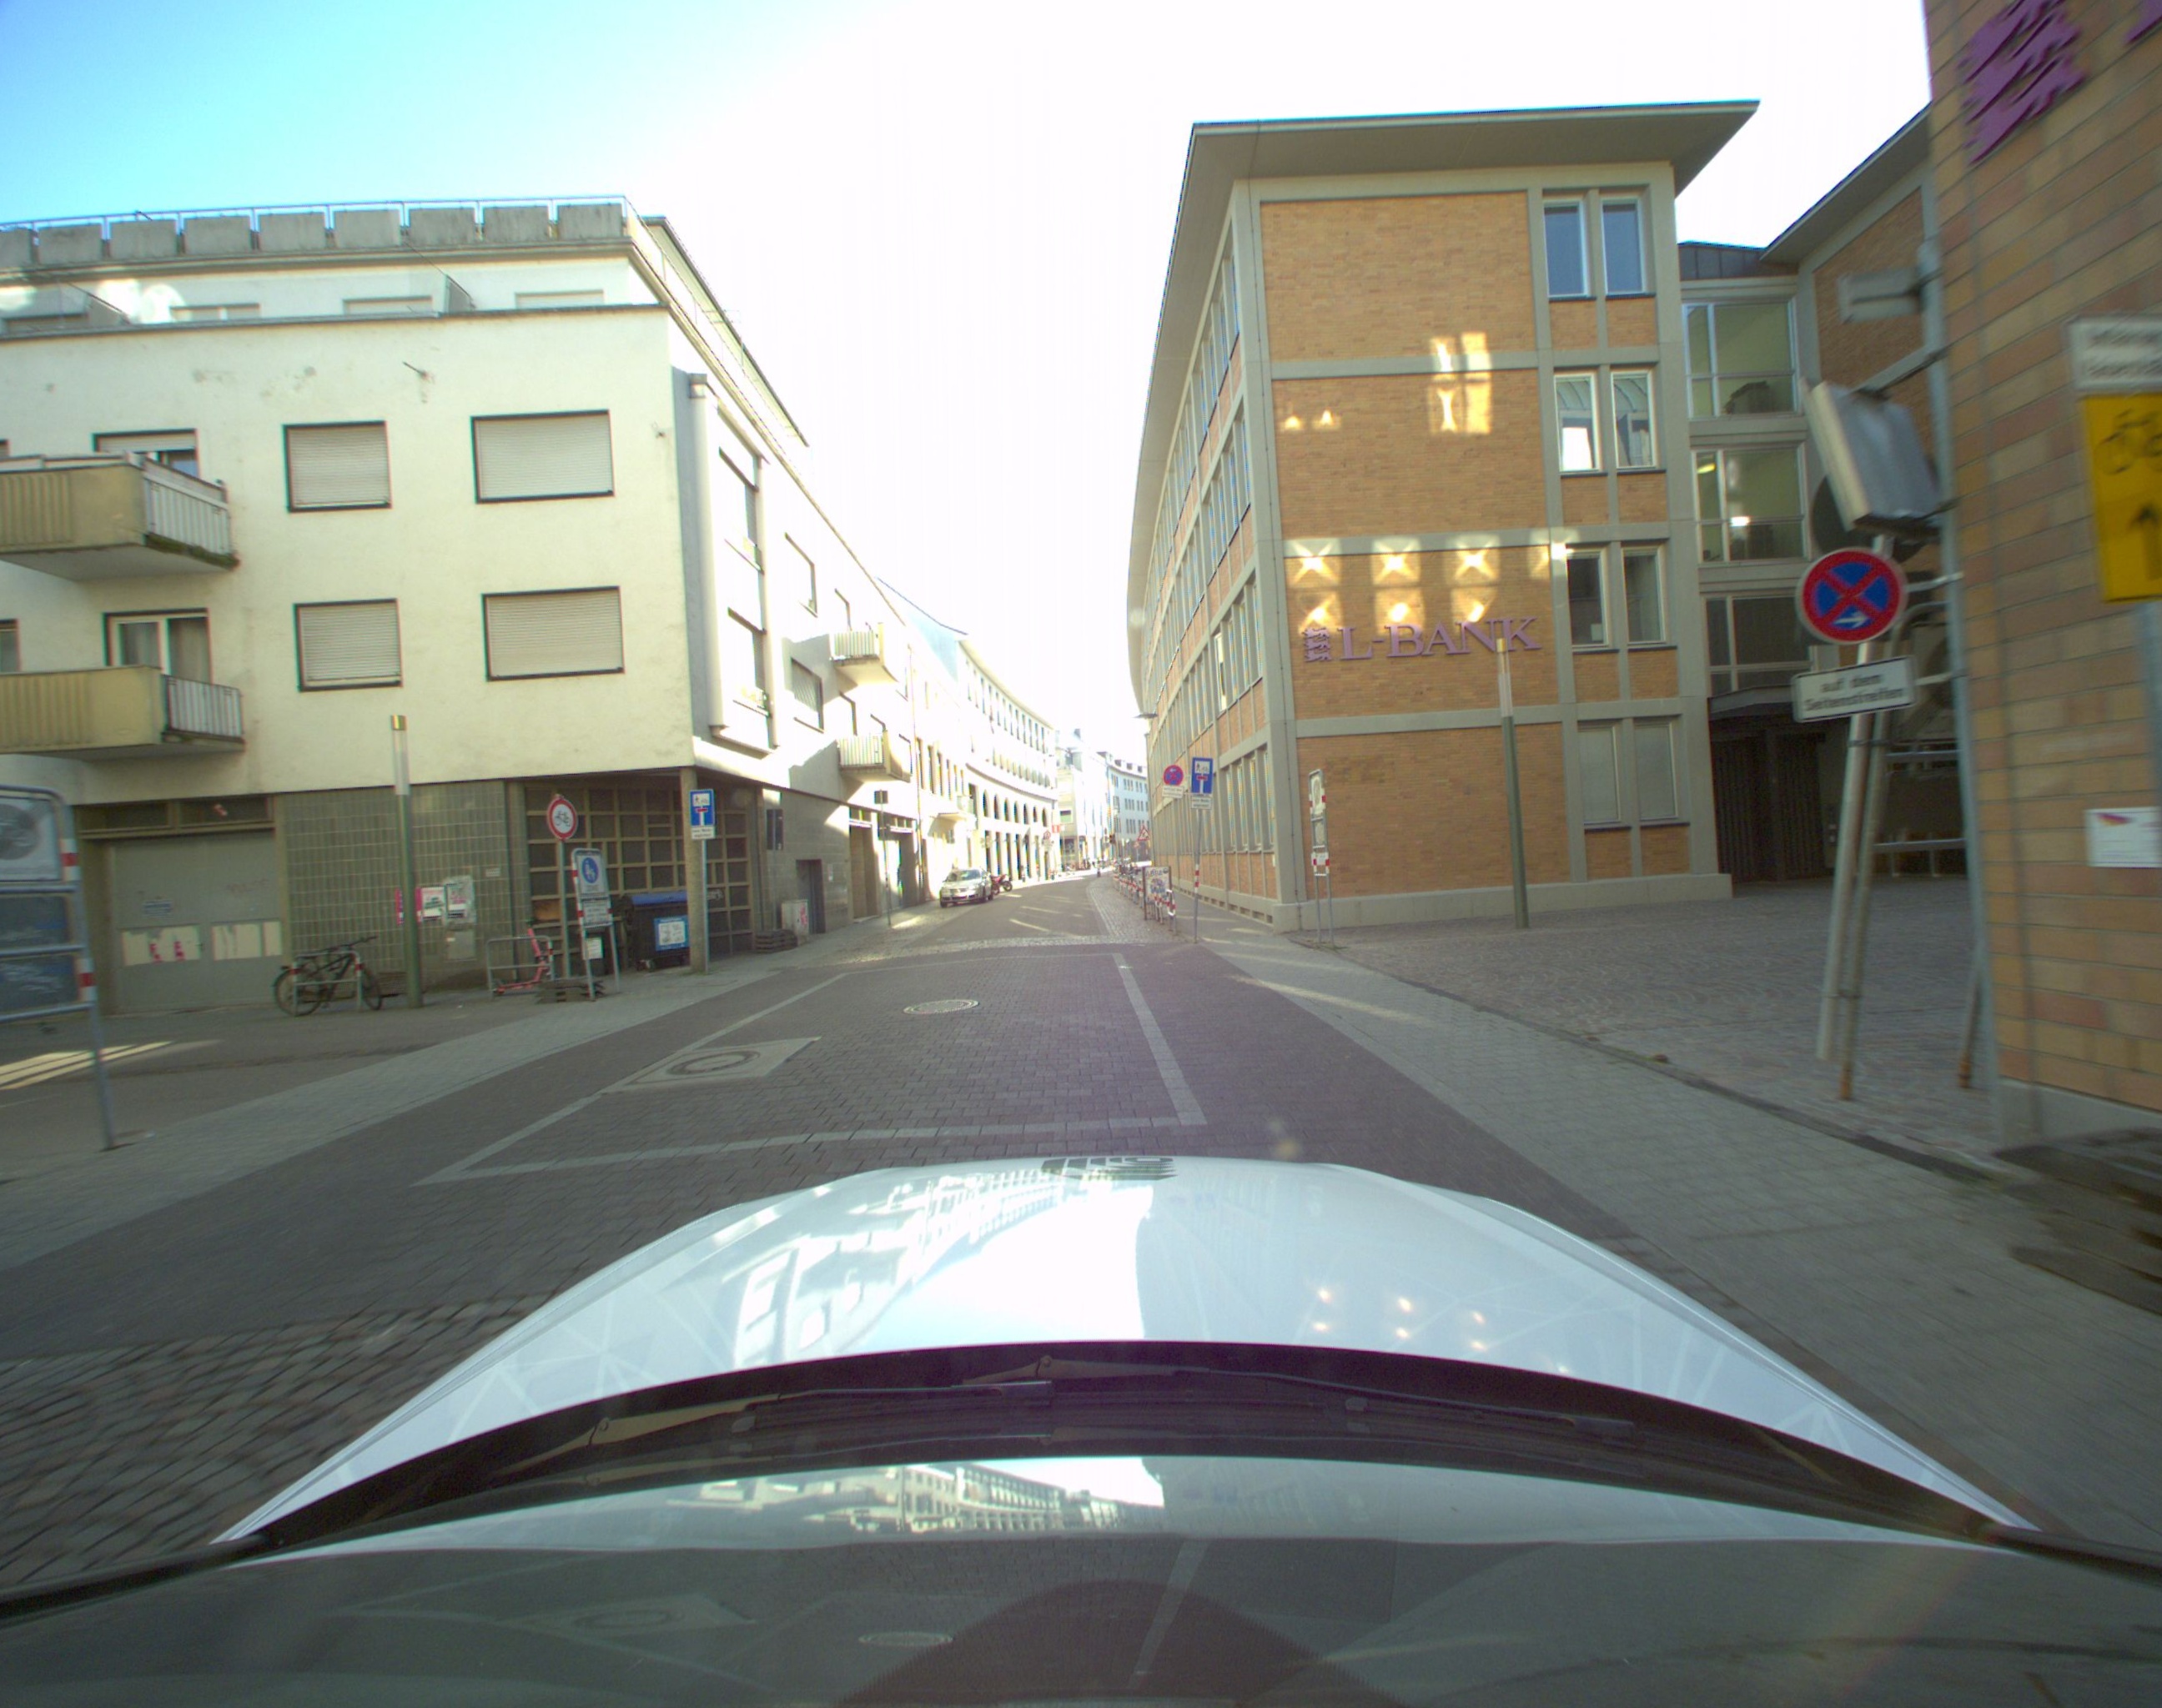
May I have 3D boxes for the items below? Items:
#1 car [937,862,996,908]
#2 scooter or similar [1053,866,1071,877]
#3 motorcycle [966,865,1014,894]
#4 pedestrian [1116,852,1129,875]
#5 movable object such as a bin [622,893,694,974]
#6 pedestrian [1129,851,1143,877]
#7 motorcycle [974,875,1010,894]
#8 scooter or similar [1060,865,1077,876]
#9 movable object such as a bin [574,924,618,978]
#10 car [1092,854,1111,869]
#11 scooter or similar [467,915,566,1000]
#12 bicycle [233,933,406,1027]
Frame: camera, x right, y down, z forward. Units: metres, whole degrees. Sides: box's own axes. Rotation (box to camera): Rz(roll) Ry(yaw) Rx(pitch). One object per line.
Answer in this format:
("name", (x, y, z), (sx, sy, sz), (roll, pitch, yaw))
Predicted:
("car", (-4.563, 1.196, 32.801), (1.731, 1.606, 3.532), (-5, 0, 0))
("scooter or similar", (-1.770, 1.580, 74.847), (0.520, 0.928, 2.241), (-3, 0, 29))
("motorcycle", (-4.872, 1.366, 43.867), (2.384, 1.317, 0.861), (-5, 0, -1))
("pedestrian", (3.349, 0.768, 66.153), (0.663, 1.869, 0.778), (-1, -2, -31))
("movable object such as a bin", (-7.969, 1.458, 15.331), (0.873, 1.420, 0.940), (-3, -2, 42))
("pedestrian", (4.087, 0.754, 60.843), (0.663, 1.869, 0.753), (-1, -2, -31))
("motorcycle", (-4.375, 1.502, 40.041), (1.683, 0.859, 0.595), (-2, -1, 3))
("scooter or similar", (-1.229, 1.602, 79.132), (0.520, 0.928, 2.241), (-3, 0, 29))
("movable object such as a bin", (-8.815, 1.749, 14.802), (0.519, 0.902, 0.540), (-3, -2, 42))
("car", (2.396, 0.855, 95.125), (1.727, 1.606, 3.540), (-5, 0, 7))
("scooter or similar", (-8.994, 1.643, 12.999), (1.154, 1.207, 0.479), (-5, 0, -1))
("bicycle", (-11.476, 1.886, 12.312), (1.864, 1.158, 0.718), (-5, 0, 0))
